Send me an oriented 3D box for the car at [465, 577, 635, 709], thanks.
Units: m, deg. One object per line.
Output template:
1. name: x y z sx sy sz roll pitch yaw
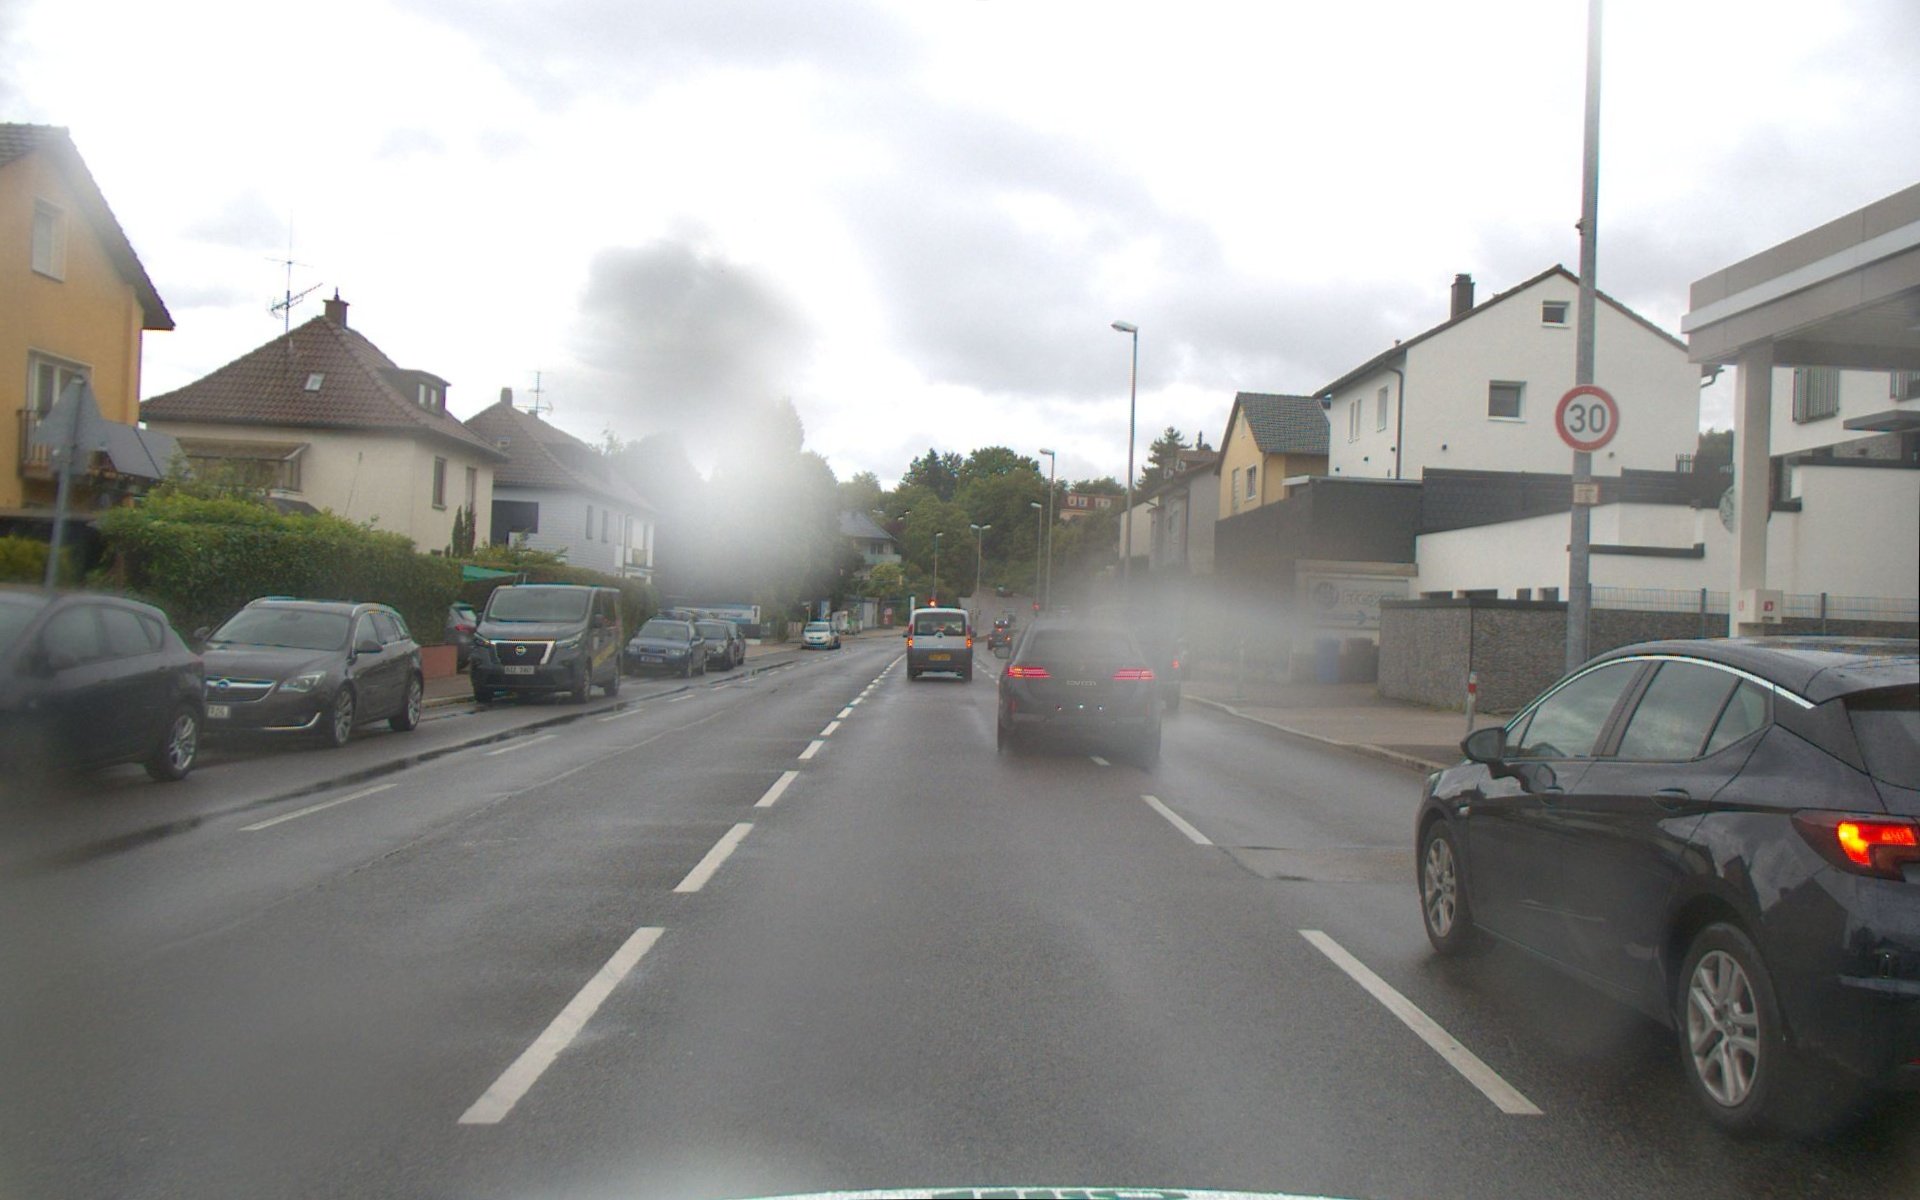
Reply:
1. car: -7.019 0.734 28.834 1.874 2.038 5.084 1 -1 -3

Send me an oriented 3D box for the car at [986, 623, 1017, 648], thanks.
1. car: 2.891 2.472 115.229 1.953 1.606 3.999 0 0 -2

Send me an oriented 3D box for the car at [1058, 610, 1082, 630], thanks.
1. car: 12.682 2.301 190.503 2.470 2.048 5.610 2 2 1

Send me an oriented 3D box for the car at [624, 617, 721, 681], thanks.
1. car: -7.585 1.286 43.939 1.721 1.559 4.286 1 -1 1

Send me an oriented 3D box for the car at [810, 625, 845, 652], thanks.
1. car: -8.248 2.424 103.448 1.846 1.613 3.999 1 -1 0

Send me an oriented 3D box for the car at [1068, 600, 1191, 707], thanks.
1. car: 3.054 0.954 30.458 1.801 1.798 3.999 1 -1 0

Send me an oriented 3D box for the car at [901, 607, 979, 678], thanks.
1. car: -0.525 1.138 44.528 1.953 1.768 3.999 1 -1 0

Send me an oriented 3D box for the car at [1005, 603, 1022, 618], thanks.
1. car: 6.654 1.236 205.032 1.953 1.803 3.999 -1 0 -1

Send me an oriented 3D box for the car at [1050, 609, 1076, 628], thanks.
1. car: 13.010 2.287 208.438 2.472 2.048 5.605 2 2 -4

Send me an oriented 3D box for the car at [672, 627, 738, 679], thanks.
1. car: -7.672 1.573 50.052 1.520 1.456 4.012 2 -1 -3

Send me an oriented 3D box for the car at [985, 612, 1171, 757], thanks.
1. car: 1.305 0.954 19.842 1.952 1.510 4.000 1 -1 1

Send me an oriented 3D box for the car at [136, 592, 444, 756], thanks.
1. car: -7.194 0.764 18.295 1.715 1.543 4.524 2 -1 -3

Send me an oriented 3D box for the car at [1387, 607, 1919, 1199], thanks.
1. car: 3.031 0.799 6.076 1.721 1.475 3.998 2 -1 -2

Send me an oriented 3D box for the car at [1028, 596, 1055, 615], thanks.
1. car: 11.056 0.724 225.300 2.475 2.047 5.600 3 4 -9

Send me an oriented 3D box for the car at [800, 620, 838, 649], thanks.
1. car: -8.238 1.989 96.734 1.846 1.613 3.999 1 -1 0

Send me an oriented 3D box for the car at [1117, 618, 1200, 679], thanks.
1. car: 5.419 1.318 45.611 1.666 1.536 4.533 1 -1 -1

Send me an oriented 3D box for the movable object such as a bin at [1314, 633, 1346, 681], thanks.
1. movable object such as a bin: 8.863 1.353 39.672 0.583 1.124 0.667 -1 -1 -1

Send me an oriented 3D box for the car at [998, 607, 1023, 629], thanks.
1. car: 5.572 1.973 182.025 2.470 2.048 5.608 2 2 -1

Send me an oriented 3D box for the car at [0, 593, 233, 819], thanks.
1. car: -7.072 0.692 12.007 1.714 1.465 4.129 1 -1 0
